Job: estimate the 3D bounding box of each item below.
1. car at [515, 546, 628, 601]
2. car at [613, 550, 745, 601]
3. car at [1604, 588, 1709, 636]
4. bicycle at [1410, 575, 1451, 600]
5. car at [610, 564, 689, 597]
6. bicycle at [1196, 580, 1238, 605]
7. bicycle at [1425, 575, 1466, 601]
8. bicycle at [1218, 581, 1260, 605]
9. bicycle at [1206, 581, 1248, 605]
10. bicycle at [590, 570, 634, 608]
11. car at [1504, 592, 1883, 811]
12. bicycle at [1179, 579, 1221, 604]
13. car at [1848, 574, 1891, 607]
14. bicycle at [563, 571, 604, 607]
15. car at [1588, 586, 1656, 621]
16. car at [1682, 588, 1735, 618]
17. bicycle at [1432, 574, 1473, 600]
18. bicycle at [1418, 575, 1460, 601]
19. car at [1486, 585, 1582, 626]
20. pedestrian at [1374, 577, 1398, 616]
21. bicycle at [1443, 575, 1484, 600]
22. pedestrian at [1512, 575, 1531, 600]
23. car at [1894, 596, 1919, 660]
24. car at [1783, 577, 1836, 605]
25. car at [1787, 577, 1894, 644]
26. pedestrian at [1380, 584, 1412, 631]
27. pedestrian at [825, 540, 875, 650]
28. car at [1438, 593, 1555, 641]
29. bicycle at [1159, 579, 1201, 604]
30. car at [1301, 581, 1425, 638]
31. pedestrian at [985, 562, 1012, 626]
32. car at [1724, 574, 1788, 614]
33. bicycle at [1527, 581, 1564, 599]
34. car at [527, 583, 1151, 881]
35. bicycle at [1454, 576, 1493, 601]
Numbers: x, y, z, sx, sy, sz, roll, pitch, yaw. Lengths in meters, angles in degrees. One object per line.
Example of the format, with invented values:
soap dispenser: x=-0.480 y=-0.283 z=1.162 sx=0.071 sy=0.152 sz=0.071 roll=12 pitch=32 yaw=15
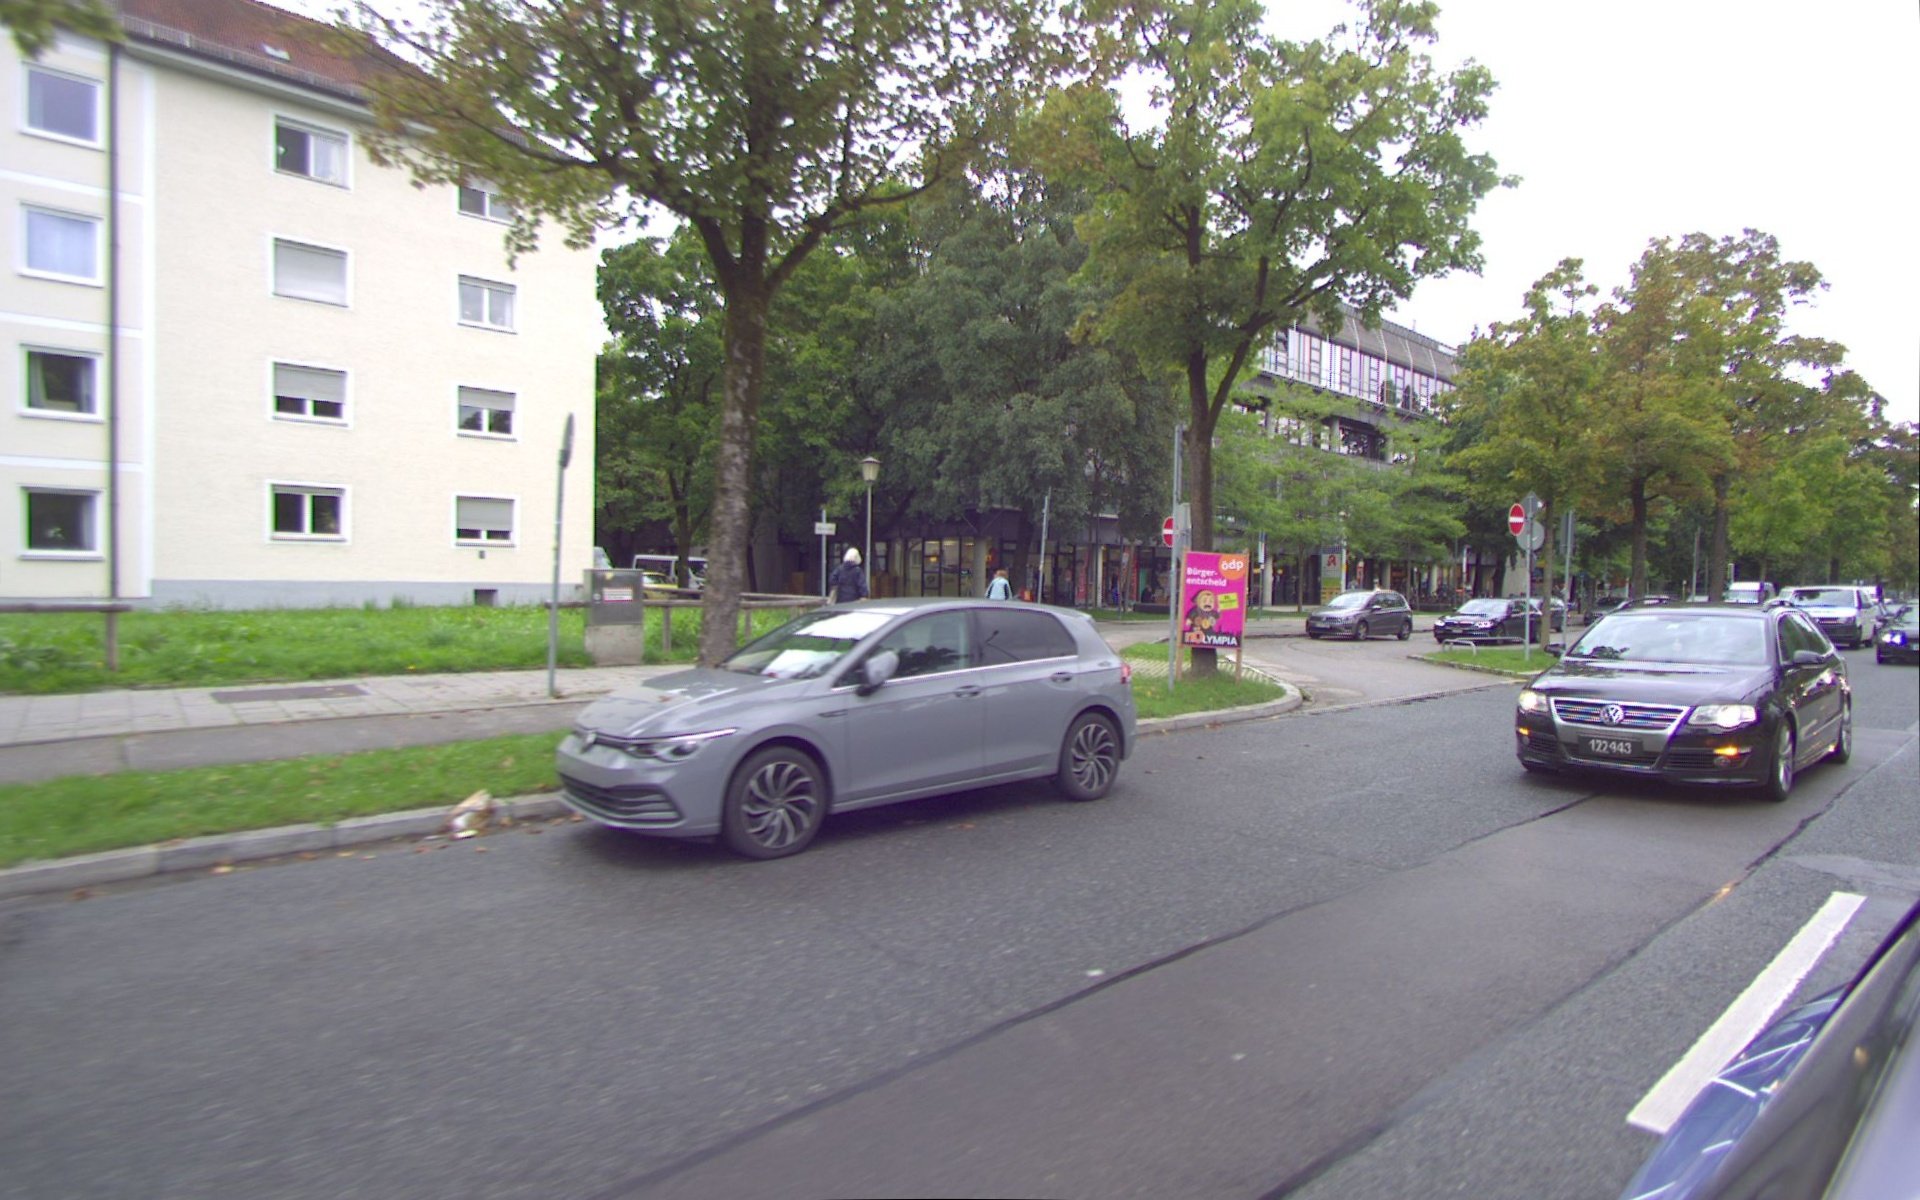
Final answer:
car: x=-15.348 y=-1.087 z=39.736 sx=2.304 sy=2.023 sz=6.105 roll=0 pitch=2 yaw=-40
car: x=-12.364 y=-1.107 z=44.339 sx=6.074 sy=2.078 sz=2.316 roll=3 pitch=2 yaw=36
car: x=22.723 y=0.347 z=32.955 sx=4.610 sy=1.450 sz=1.730 roll=-1 pitch=0 yaw=-41
bicycle: x=29.753 y=-0.779 z=64.059 sx=0.638 sy=1.551 sz=2.312 roll=0 pitch=1 yaw=-40
car: x=-12.578 y=-0.805 z=40.831 sx=1.559 sy=1.216 sz=3.742 roll=1 pitch=2 yaw=-43
bicycle: x=12.348 y=-0.370 z=48.624 sx=0.447 sy=1.134 sz=2.079 roll=0 pitch=1 yaw=-40
bicycle: x=31.347 y=-0.812 z=65.380 sx=0.638 sy=1.643 sz=2.312 roll=0 pitch=1 yaw=-40
bicycle: x=13.866 y=-0.349 z=50.329 sx=0.447 sy=1.134 sz=2.079 roll=0 pitch=1 yaw=-40
bicycle: x=13.047 y=-0.371 z=49.535 sx=0.447 sy=1.134 sz=2.079 roll=0 pitch=1 yaw=-40
bicycle: x=-9.356 y=-0.300 z=27.211 sx=0.448 sy=0.983 sz=1.693 roll=0 pitch=2 yaw=-44
car: x=6.539 y=0.663 z=8.827 sx=4.364 sy=1.451 sz=1.734 roll=0 pitch=0 yaw=-41
bicycle: x=11.432 y=-0.401 z=48.239 sx=0.447 sy=1.134 sz=2.079 roll=0 pitch=1 yaw=-40
car: x=76.064 y=-0.813 z=84.627 sx=5.901 sy=2.691 sz=1.976 roll=0 pitch=0 yaw=-41
bicycle: x=-10.604 y=-0.322 z=28.487 sx=0.448 sy=0.983 sz=1.693 roll=0 pitch=2 yaw=-44
car: x=32.350 y=0.156 z=49.413 sx=4.527 sy=1.550 sz=1.823 roll=1 pitch=2 yaw=-45
car: x=44.694 y=0.142 z=60.374 sx=4.270 sy=1.654 sz=1.861 roll=-1 pitch=2 yaw=-44
bicycle: x=32.070 y=-0.833 z=65.901 sx=0.638 sy=1.643 sz=2.312 roll=0 pitch=1 yaw=-40
bicycle: x=30.661 y=-0.793 z=64.817 sx=0.638 sy=1.643 sz=2.312 roll=0 pitch=1 yaw=-40
car: x=23.306 y=0.195 z=41.047 sx=4.519 sy=1.550 sz=1.826 roll=0 pitch=2 yaw=-39
pedestrian: x=17.909 y=-0.151 z=42.532 sx=0.620 sy=1.560 sz=0.661 roll=0 pitch=3 yaw=-36
bicycle: x=33.114 y=-0.839 z=66.569 sx=0.638 sy=1.643 sz=2.312 roll=0 pitch=1 yaw=-40
pedestrian: x=39.539 y=-0.886 z=71.239 sx=0.856 sy=1.719 sz=0.772 roll=-1 pitch=2 yaw=-26
car: x=23.514 y=0.622 z=23.896 sx=4.385 sy=1.431 sz=1.761 roll=0 pitch=0 yaw=-42
car: x=66.574 y=-0.730 z=79.309 sx=5.755 sy=2.130 sz=2.267 roll=0 pitch=1 yaw=-41
car: x=27.744 y=0.291 z=31.849 sx=4.847 sy=1.952 sz=1.884 roll=0 pitch=0 yaw=-41
pedestrian: x=15.369 y=0.252 z=35.694 sx=0.738 sy=1.614 sz=0.660 roll=1 pitch=1 yaw=-22
pedestrian: x=-1.782 y=-0.088 z=16.425 sx=0.632 sy=1.752 sz=0.598 roll=0 pitch=0 yaw=15
car: x=16.923 y=0.481 z=31.830 sx=4.273 sy=1.397 sz=1.725 roll=-1 pitch=0 yaw=-39
bicycle: x=10.229 y=-0.395 z=47.176 sx=0.447 sy=1.134 sz=2.079 roll=0 pitch=1 yaw=-40
car: x=12.785 y=0.262 z=32.022 sx=4.122 sy=1.654 sz=1.827 roll=0 pitch=2 yaw=-39
pedestrian: x=0.976 y=-0.147 z=25.496 sx=0.571 sy=1.594 sz=0.779 roll=0 pitch=0 yaw=9
car: x=53.575 y=-0.398 z=68.052 sx=5.755 sy=2.560 sz=2.267 roll=0 pitch=1 yaw=-41
bicycle: x=43.917 y=-0.786 z=75.991 sx=0.664 sy=1.318 sz=2.313 roll=0 pitch=1 yaw=-39
car: x=-0.642 y=0.647 z=6.999 sx=4.041 sy=1.484 sz=1.685 roll=0 pitch=0 yaw=-40
bicycle: x=34.872 y=-0.814 z=68.684 sx=2.298 sy=1.643 sz=0.642 roll=2 pitch=1 yaw=33
